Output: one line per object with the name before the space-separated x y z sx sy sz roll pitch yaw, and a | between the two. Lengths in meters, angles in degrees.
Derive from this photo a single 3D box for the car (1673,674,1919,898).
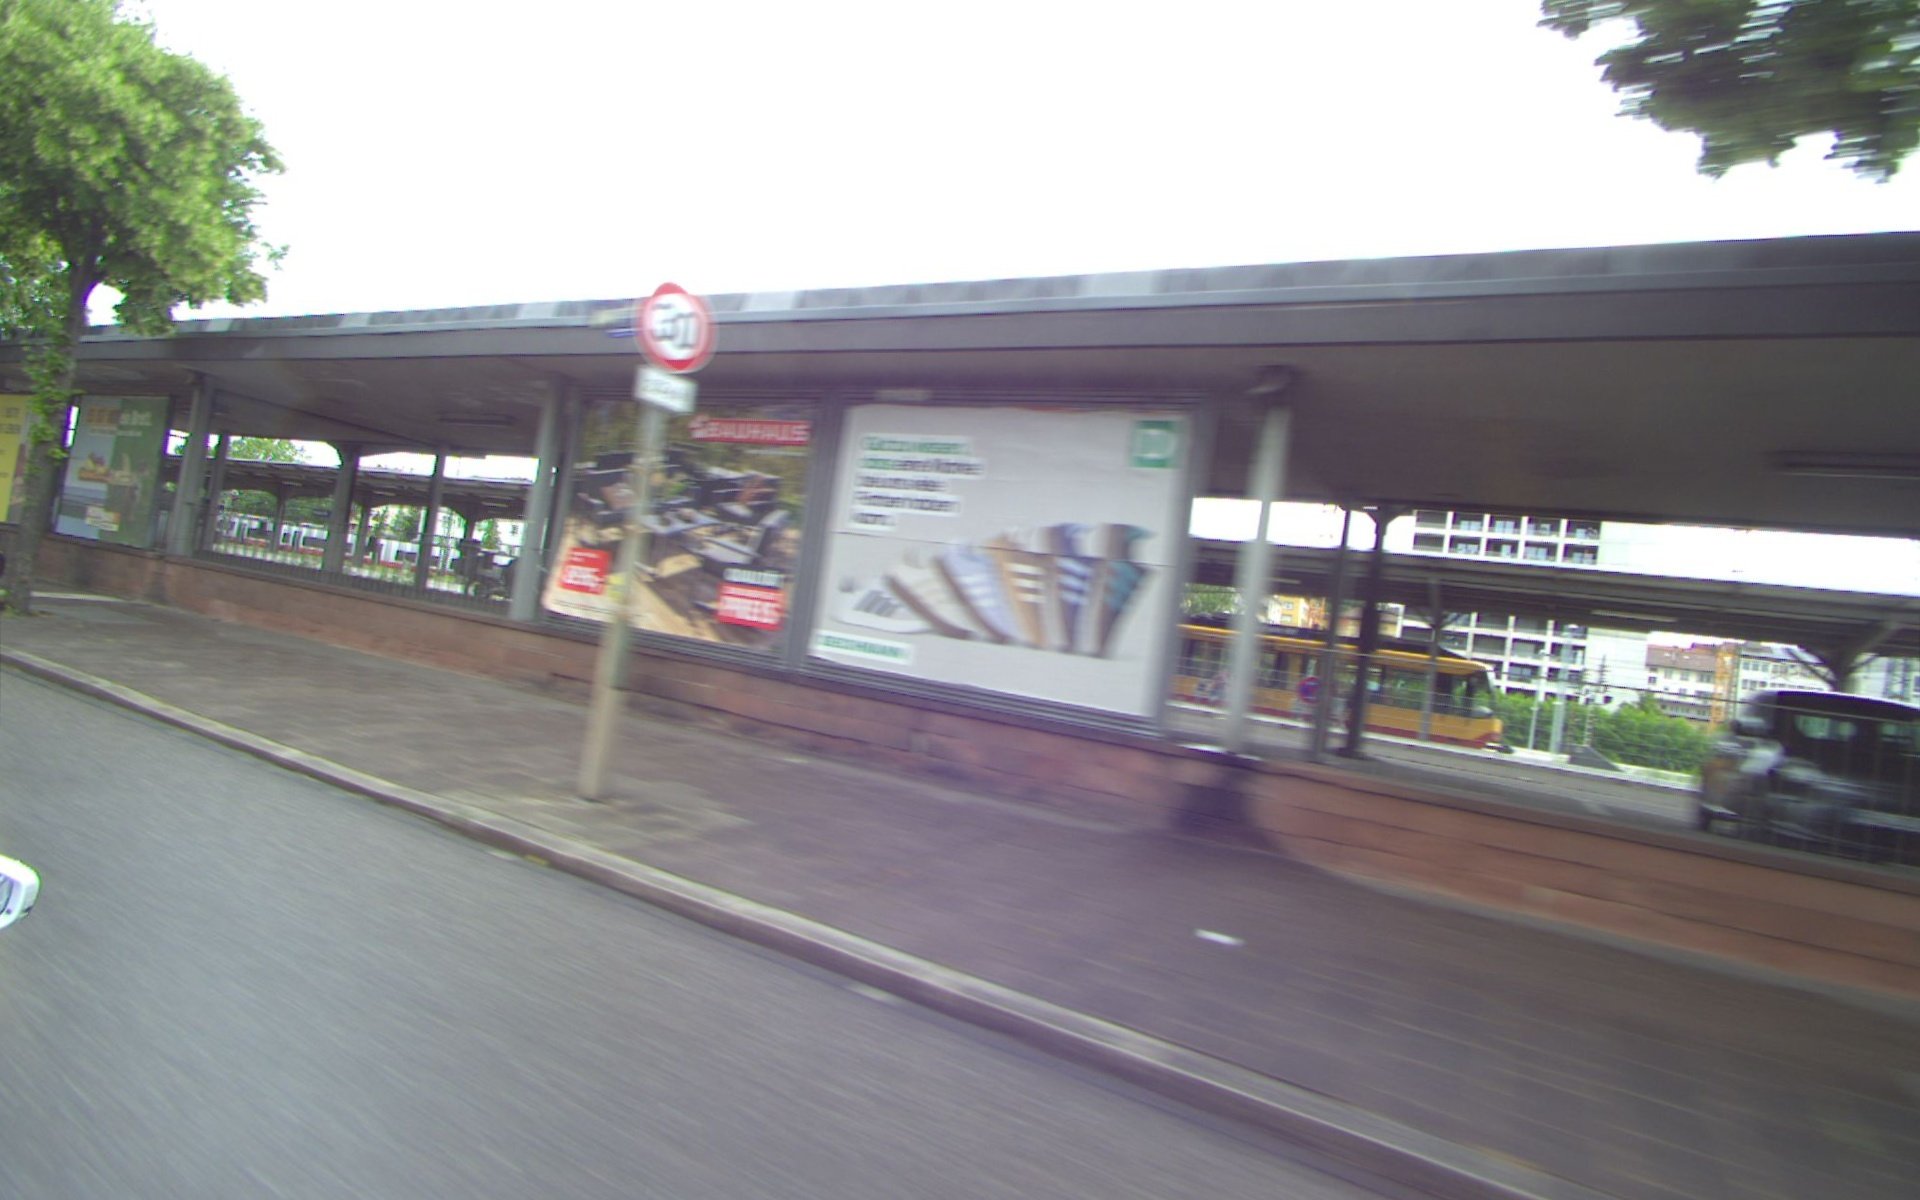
car | 8.072 1.624 9.383 1.717 1.561 3.691 7 -1 29

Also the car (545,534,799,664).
car | -5.664 -0.040 19.684 4.519 1.892 1.999 7 -2 29

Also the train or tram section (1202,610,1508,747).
train or tram section | 13.548 2.586 34.955 9.358 3.322 2.659 7 -1 30

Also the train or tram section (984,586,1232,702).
train or tram section | 5.669 1.659 39.485 8.978 3.322 2.659 7 -1 30

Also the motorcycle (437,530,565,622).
motorcycle | -9.798 -0.482 21.587 0.682 1.627 2.348 7 -3 30

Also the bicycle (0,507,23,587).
bicycle | -16.159 -0.945 15.976 1.705 1.264 0.483 7 0 -28
